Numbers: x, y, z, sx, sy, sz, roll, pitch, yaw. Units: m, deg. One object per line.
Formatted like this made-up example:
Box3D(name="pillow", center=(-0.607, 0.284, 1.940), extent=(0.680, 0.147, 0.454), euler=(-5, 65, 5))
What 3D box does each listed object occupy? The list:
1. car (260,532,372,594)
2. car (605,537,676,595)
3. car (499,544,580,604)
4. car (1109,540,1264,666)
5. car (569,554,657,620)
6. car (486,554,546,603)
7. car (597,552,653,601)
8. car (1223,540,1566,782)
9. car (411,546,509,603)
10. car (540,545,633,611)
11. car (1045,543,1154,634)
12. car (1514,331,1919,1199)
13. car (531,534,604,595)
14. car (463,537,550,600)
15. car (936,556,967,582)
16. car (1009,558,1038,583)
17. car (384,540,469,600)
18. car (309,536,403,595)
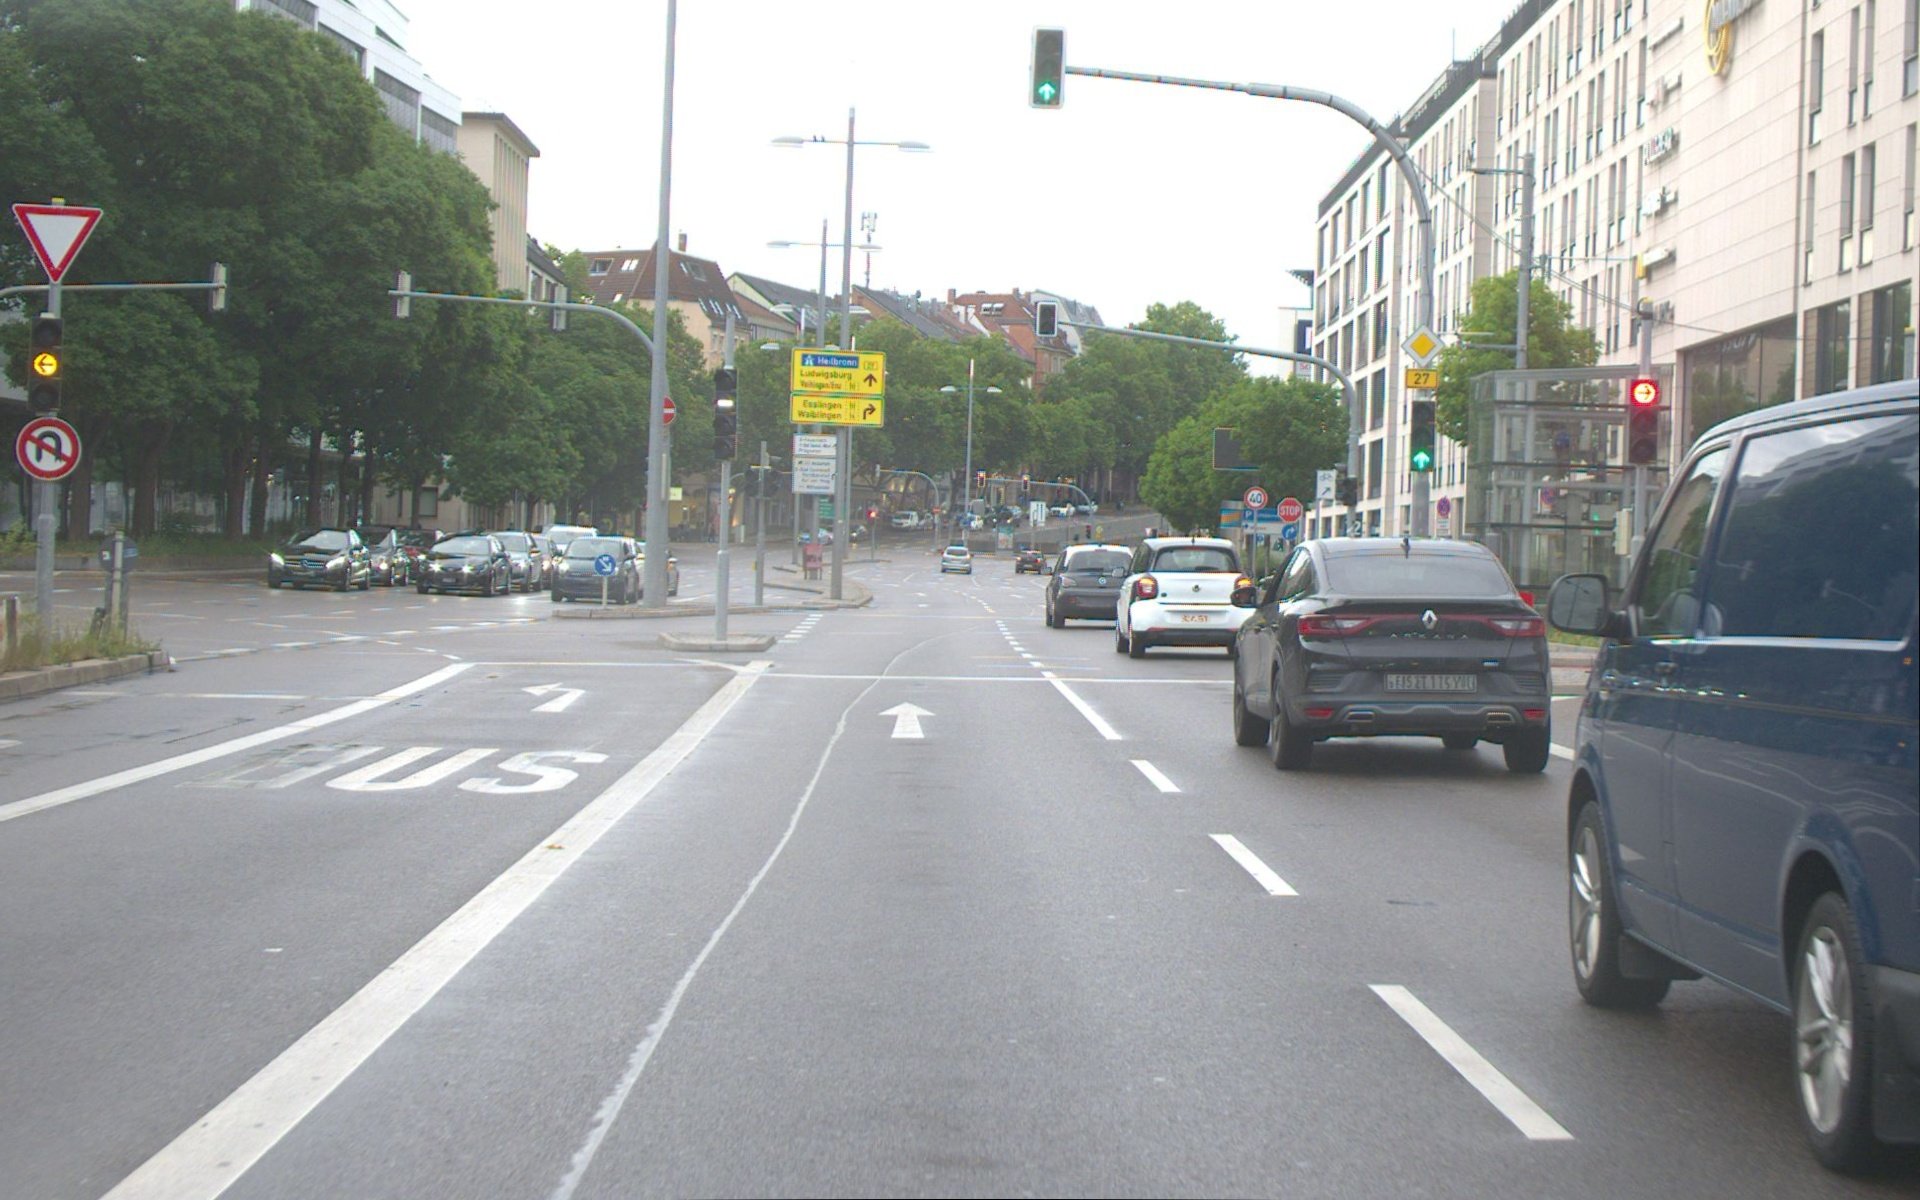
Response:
Box3D(name="car", center=(-14.760, -0.824, 78.960), extent=(1.743, 1.324, 4.225), euler=(1, 0, 0))
Box3D(name="car", center=(-8.549, -0.905, 92.224), extent=(1.538, 1.472, 3.696), euler=(1, 0, 0))
Box3D(name="car", center=(-11.297, -0.690, 92.542), extent=(1.743, 1.553, 3.539), euler=(1, 0, 0))
Box3D(name="car", center=(2.886, 0.048, 44.443), extent=(1.724, 1.526, 3.814), euler=(1, 0, 0))
Box3D(name="car", center=(-8.500, -0.301, 84.542), extent=(1.702, 1.553, 4.244), euler=(1, 0, 0))
Box3D(name="car", center=(-16.397, -0.794, 127.081), extent=(1.743, 1.742, 3.539), euler=(1, 0, 0))
Box3D(name="car", center=(-12.491, -0.875, 128.338), extent=(1.743, 1.742, 3.539), euler=(1, 0, 0))
Box3D(name="car", center=(2.928, 0.352, 24.021), extent=(1.791, 1.501, 4.339), euler=(1, 1, 0))
Box3D(name="car", center=(-11.704, -0.618, 80.675), extent=(1.743, 1.253, 3.540), euler=(2, 1, 0))
Box3D(name="car", center=(-8.603, -0.495, 79.414), extent=(1.743, 1.439, 3.395), euler=(1, 0, 0))
Box3D(name="car", center=(2.444, -0.189, 61.033), extent=(1.740, 1.526, 3.814), euler=(1, 0, 0))
Box3D(name="car", center=(2.980, 0.301, 9.635), extent=(2.033, 1.875, 5.042), euler=(-1, 1, 0))
Box3D(name="car", center=(-11.636, -1.043, 102.163), extent=(1.743, 1.742, 3.539), euler=(1, 0, 0))
Box3D(name="car", center=(-11.572, -0.789, 87.928), extent=(1.743, 1.553, 3.539), euler=(1, 0, 0))
Box3D(name="car", center=(-0.513, -1.890, 206.337), extent=(1.740, 1.526, 3.814), euler=(1, 1, -2))
Box3D(name="car", center=(4.033, -1.886, 218.488), extent=(1.740, 1.526, 3.814), euler=(1, 0, 0))
Box3D(name="car", center=(-14.482, -0.792, 93.417), extent=(1.743, 1.553, 3.539), euler=(1, 0, 0))
Box3D(name="car", center=(-15.335, -0.865, 87.474), extent=(1.743, 1.419, 3.539), euler=(1, 0, 0))
